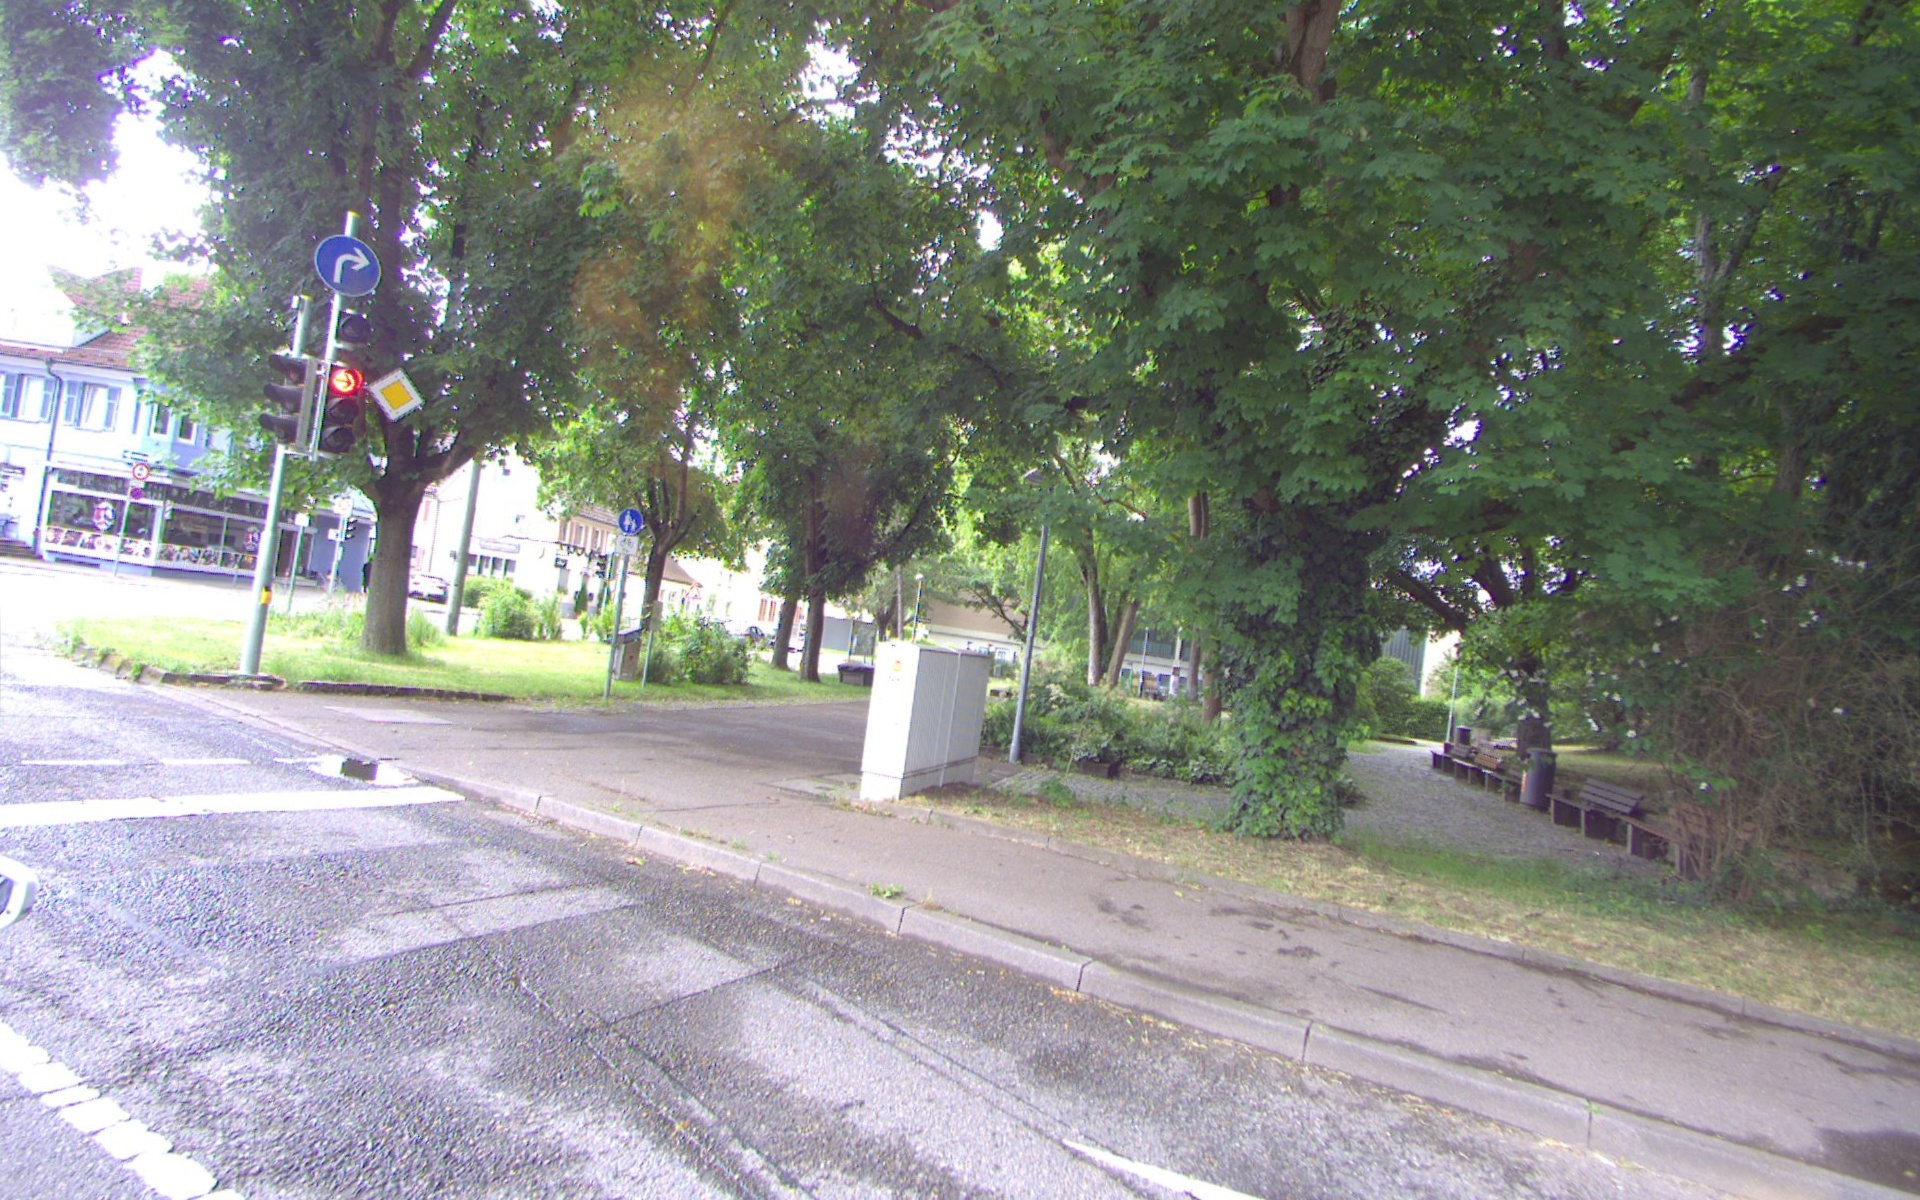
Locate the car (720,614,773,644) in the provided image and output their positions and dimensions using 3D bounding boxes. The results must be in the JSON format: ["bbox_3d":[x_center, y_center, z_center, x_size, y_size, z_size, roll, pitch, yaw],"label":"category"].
[{"bbox_3d":[-11.575,1.594,54.828,1.530,1.336,3.514,7,-2,9],"label":"car"}]

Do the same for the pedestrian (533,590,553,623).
[{"bbox_3d":[-22.170,0.360,53.479,0.600,1.668,0.610,7,-1,3],"label":"pedestrian"}]

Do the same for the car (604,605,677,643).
[{"bbox_3d":[-14.015,1.088,44.364,1.530,1.336,3.514,7,-2,9],"label":"car"}]

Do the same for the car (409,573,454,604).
[{"bbox_3d":[-27.877,-0.607,53.150,1.479,1.384,3.166,8,-2,-19],"label":"car"}]

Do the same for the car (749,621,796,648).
[{"bbox_3d":[-11.174,2.068,60.113,1.530,1.336,3.514,7,-2,8],"label":"car"}]

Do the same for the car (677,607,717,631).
[{"bbox_3d":[-19.378,1.438,74.255,1.528,1.436,4.005,7,-2,4],"label":"car"}]

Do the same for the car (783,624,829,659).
[{"bbox_3d":[-10.063,2.756,66.182,1.750,2.037,4.005,7,-2,7],"label":"car"}]

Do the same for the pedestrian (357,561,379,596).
[{"bbox_3d":[-27.487,-1.016,46.704,0.576,1.535,0.460,7,-1,12],"label":"pedestrian"}]
